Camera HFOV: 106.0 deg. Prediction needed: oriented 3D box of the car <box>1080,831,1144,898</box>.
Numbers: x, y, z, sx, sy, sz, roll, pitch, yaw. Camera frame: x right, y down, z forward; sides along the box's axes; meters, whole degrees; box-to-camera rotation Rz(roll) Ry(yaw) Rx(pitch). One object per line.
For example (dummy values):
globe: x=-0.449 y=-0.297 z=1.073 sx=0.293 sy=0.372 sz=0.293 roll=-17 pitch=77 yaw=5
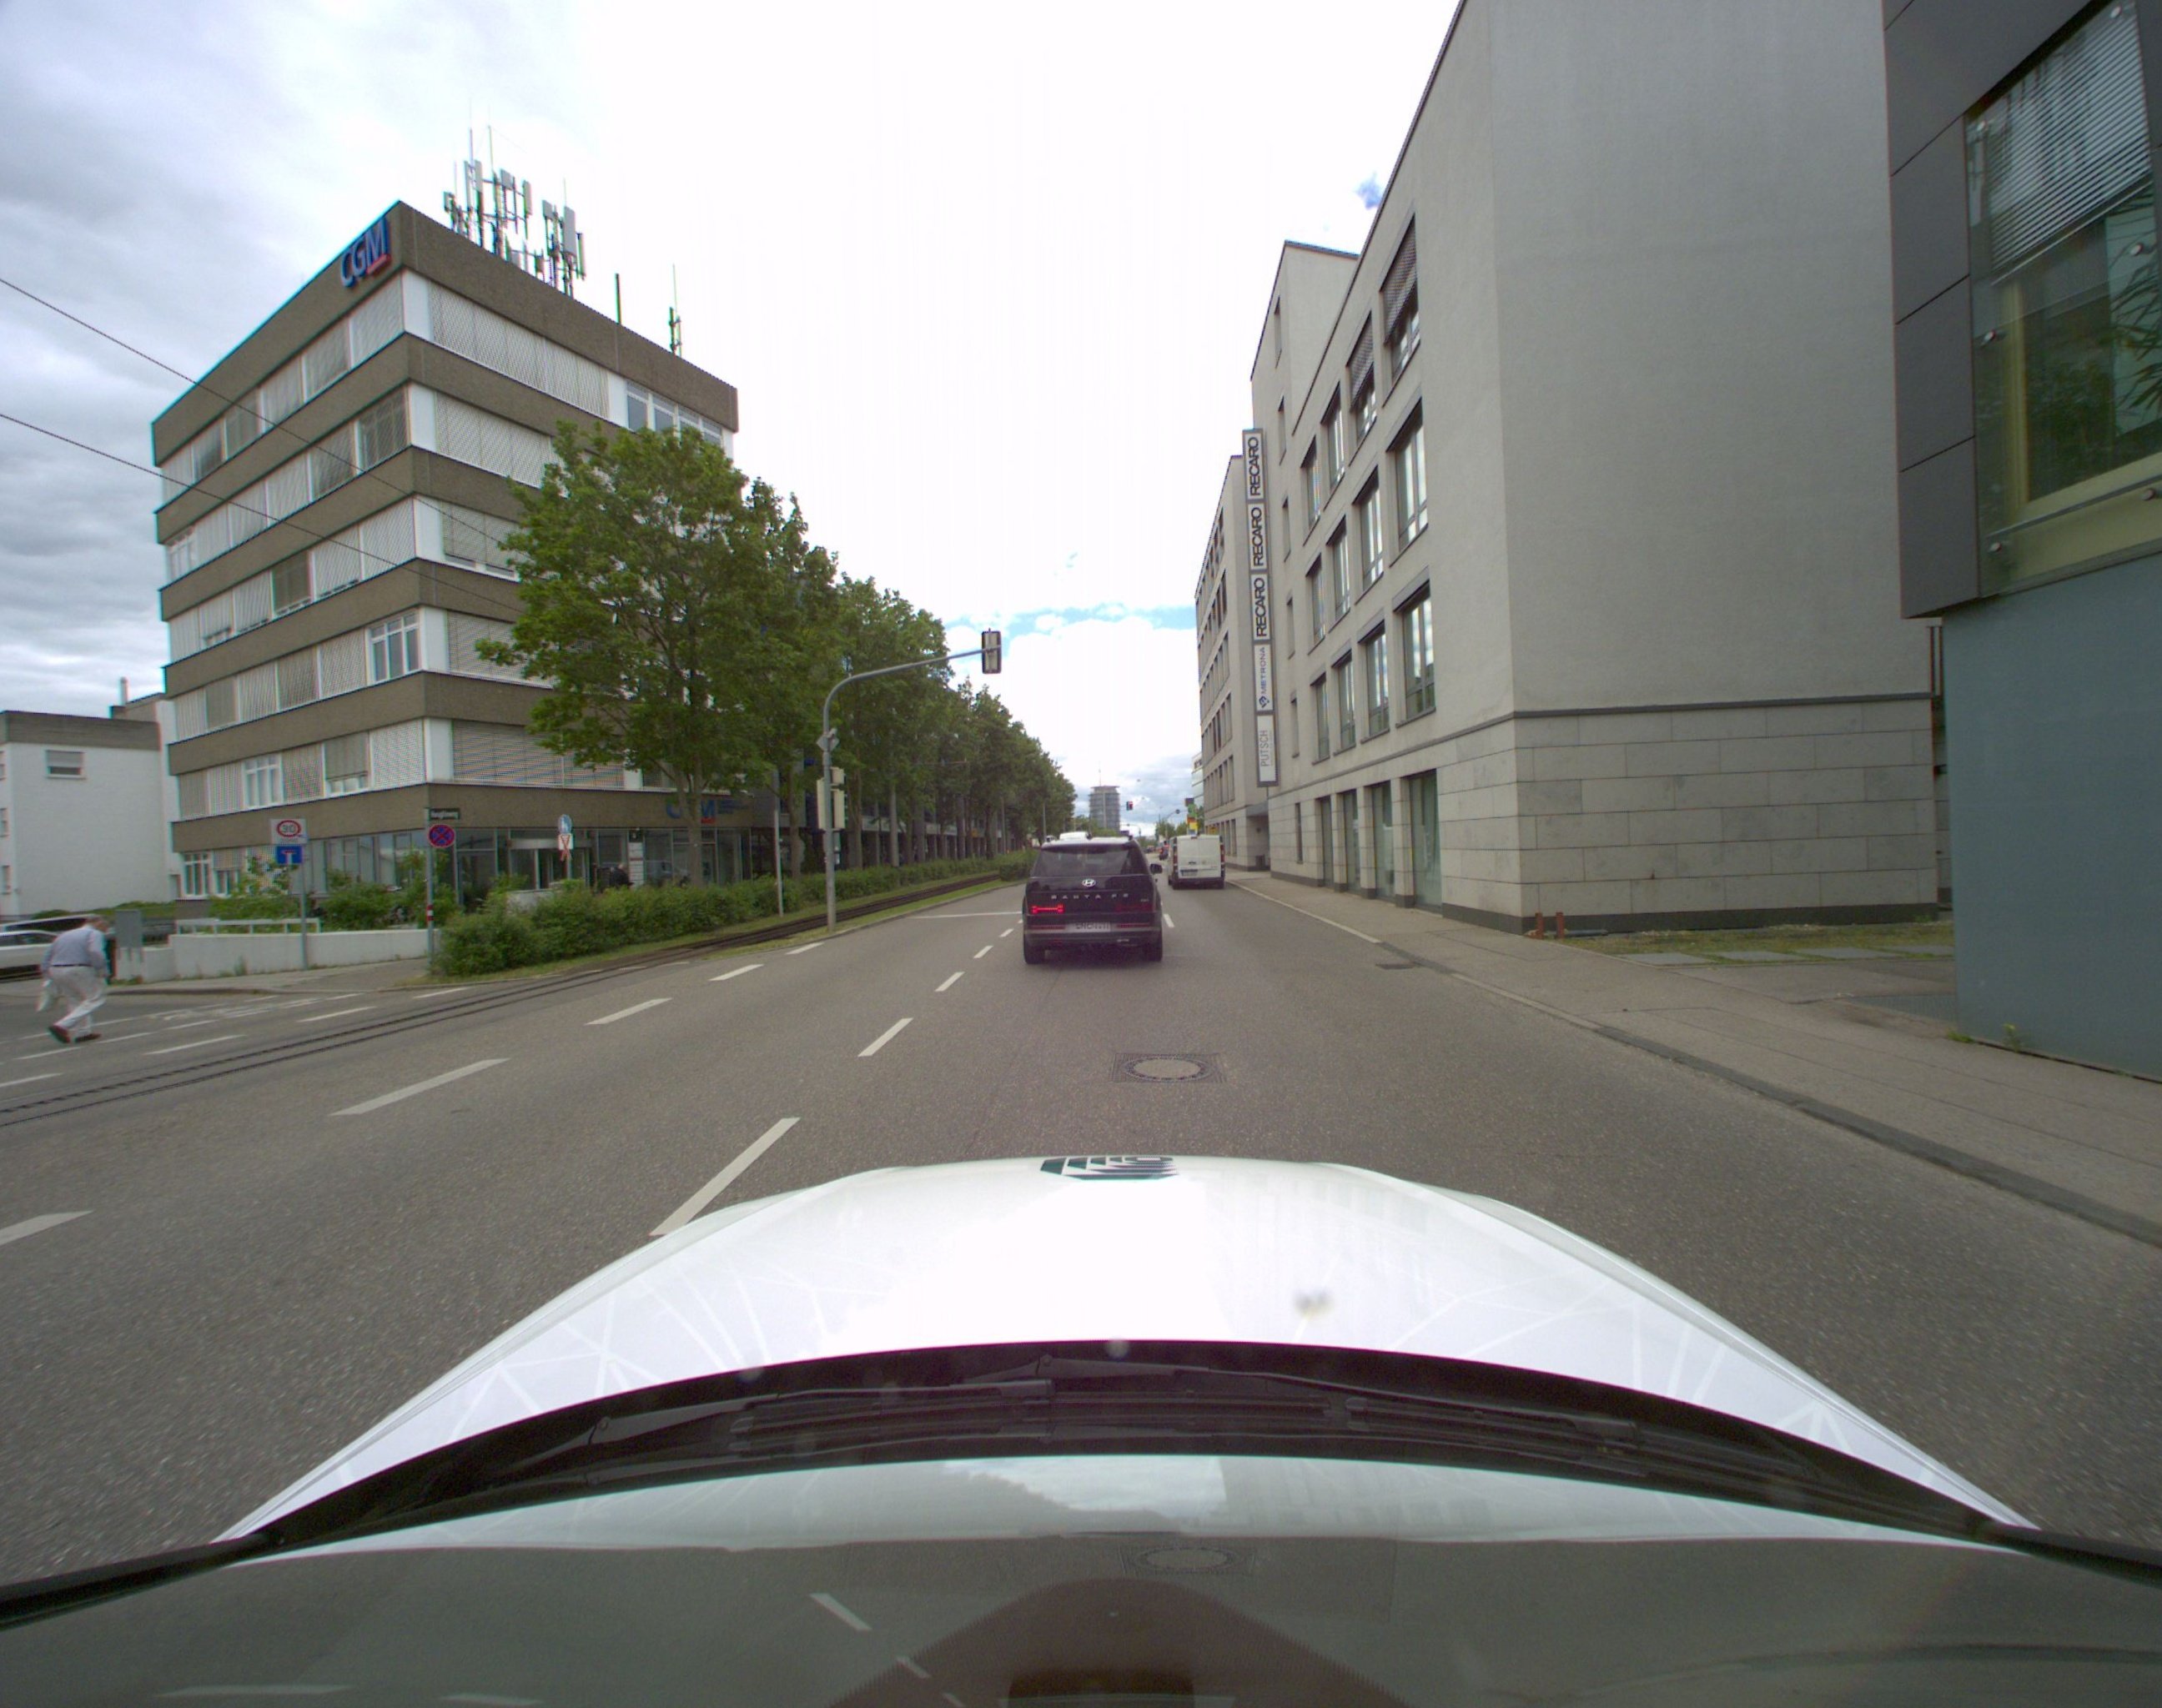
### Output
car: x=0.973 y=0.316 z=27.655 sx=1.925 sy=1.994 sz=4.535 roll=-3 pitch=0 yaw=0

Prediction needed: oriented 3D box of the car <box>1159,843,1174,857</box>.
car: x=10.778 y=-0.513 z=103.048 sx=1.750 sy=1.609 sz=4.196 roll=-3 pitch=0 yaw=7

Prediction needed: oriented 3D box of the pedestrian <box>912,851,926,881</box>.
pedestrian: x=-10.562 y=0.767 z=53.112 sx=0.672 sy=1.908 sz=0.623 roll=-4 pitch=0 yaw=4

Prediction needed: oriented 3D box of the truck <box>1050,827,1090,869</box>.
truck: x=-0.687 y=-0.417 z=54.777 sx=2.156 sy=2.615 sz=5.801 roll=-3 pitch=0 yaw=3

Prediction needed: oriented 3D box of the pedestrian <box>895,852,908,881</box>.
pedestrian: x=-12.884 y=0.919 z=58.409 sx=0.678 sy=2.013 sz=0.571 roll=-3 pitch=0 yaw=3

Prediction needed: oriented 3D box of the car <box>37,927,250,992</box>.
car: x=-29.513 y=3.286 z=25.808 sx=1.709 sy=1.425 sz=4.023 roll=-5 pitch=-1 yaw=24

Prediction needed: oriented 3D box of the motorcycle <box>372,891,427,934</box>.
motorcycle: x=-20.250 y=1.748 z=24.201 sx=1.861 sy=1.199 sz=0.572 roll=-3 pitch=0 yaw=29

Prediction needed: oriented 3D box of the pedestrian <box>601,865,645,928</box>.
pedestrian: x=-12.884 y=1.184 z=22.926 sx=0.684 sy=1.705 sz=0.684 roll=-4 pitch=0 yaw=6

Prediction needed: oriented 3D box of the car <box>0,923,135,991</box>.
car: x=-38.692 y=3.845 z=29.916 sx=1.832 sy=2.068 sz=4.714 roll=-5 pitch=-1 yaw=24

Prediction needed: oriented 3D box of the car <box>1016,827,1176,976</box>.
car: x=0.132 y=0.579 z=12.298 sx=1.904 sy=1.749 sz=4.394 roll=-3 pitch=0 yaw=-2

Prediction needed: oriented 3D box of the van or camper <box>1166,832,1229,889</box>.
van or camper: x=4.295 y=0.198 z=30.571 sx=1.985 sy=1.915 sz=4.336 roll=-2 pitch=1 yaw=4

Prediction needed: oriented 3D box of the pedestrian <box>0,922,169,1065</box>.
pedestrian: x=-12.306 y=1.682 z=10.065 sx=0.844 sy=1.526 sz=0.996 roll=-4 pitch=0 yaw=2

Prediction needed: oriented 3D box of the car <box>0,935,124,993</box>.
car: x=-35.699 y=3.786 z=27.450 sx=1.832 sy=1.574 sz=4.023 roll=-5 pitch=-1 yaw=24
